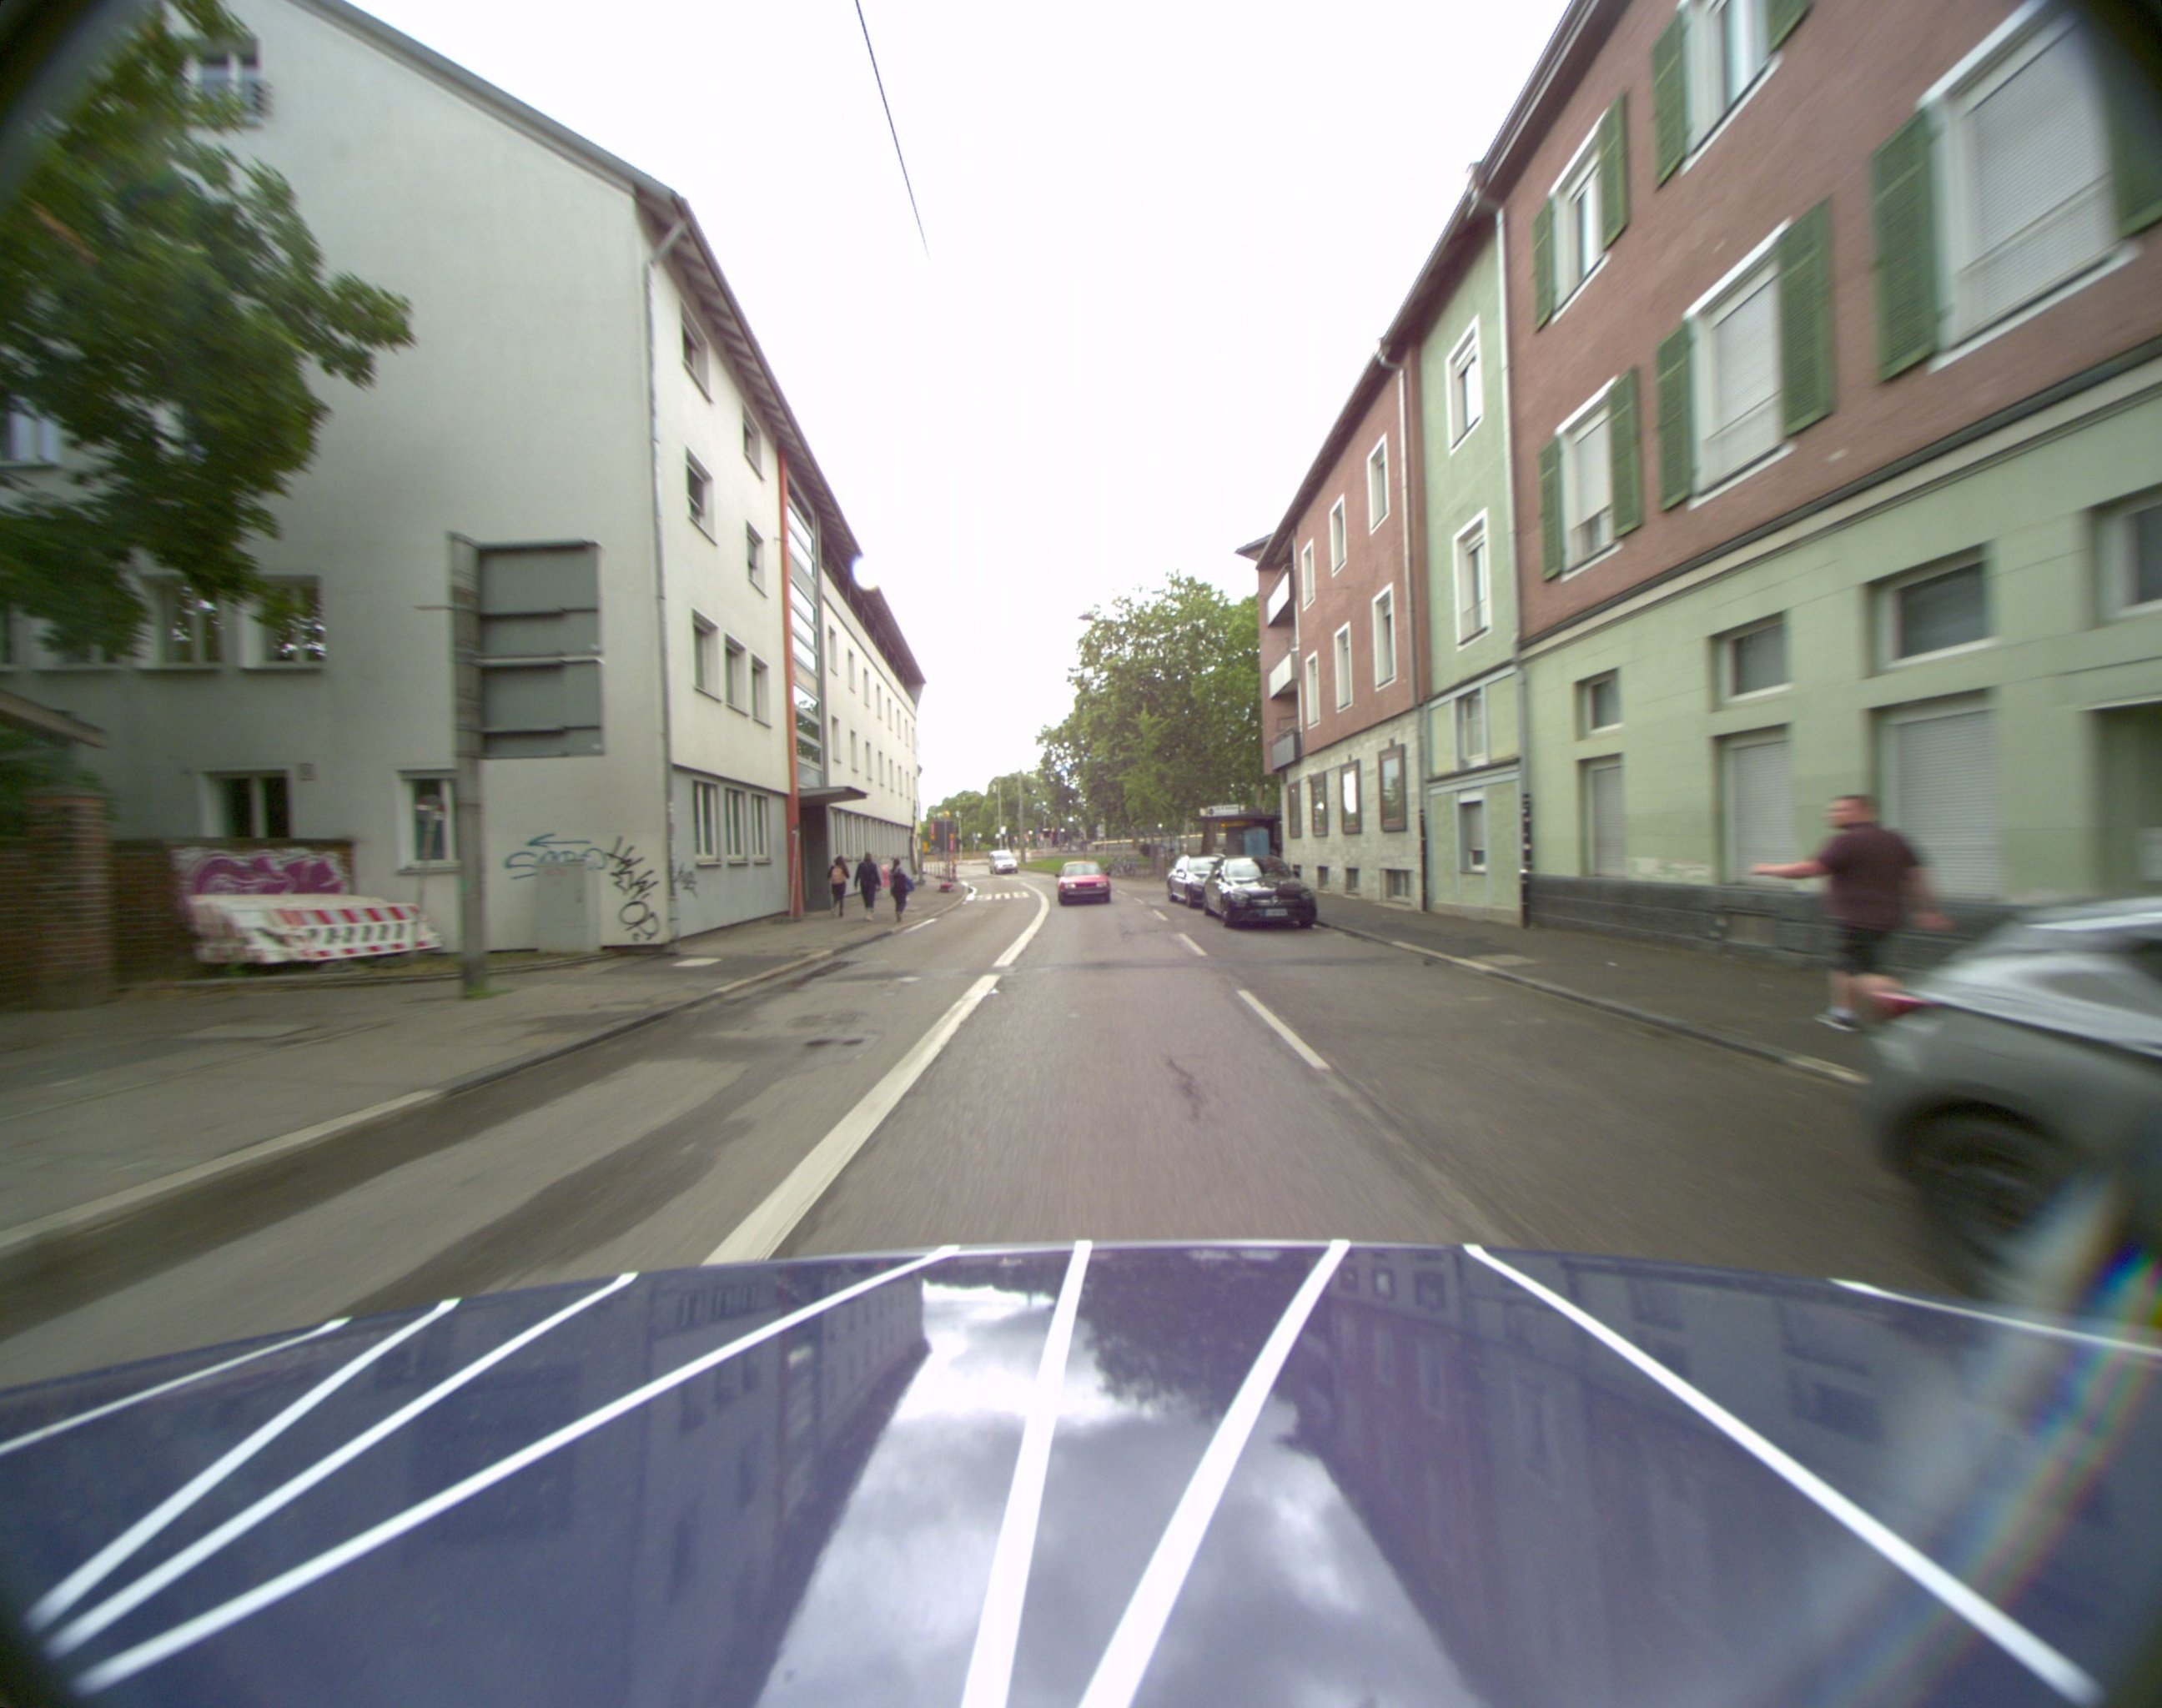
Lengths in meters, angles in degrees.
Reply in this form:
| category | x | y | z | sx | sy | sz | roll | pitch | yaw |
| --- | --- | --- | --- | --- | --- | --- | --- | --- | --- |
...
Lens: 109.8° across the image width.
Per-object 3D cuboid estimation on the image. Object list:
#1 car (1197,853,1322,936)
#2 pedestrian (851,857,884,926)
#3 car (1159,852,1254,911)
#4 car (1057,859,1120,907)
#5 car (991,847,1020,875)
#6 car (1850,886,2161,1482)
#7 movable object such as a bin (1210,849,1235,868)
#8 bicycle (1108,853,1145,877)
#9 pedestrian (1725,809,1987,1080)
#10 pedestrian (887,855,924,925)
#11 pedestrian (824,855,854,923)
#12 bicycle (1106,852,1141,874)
| category | x | y | z | sx | sy | sz | roll | pitch | yaw |
| --- | --- | --- | --- | --- | --- | --- | --- | --- | --- |
| car | 3.834 | 0.792 | 17.195 | 1.833 | 1.446 | 4.921 | -2 | 1 | 3 |
| pedestrian | -5.555 | 0.965 | 19.807 | 0.689 | 1.746 | 0.878 | 0 | 0 | -5 |
| car | 3.608 | 0.733 | 22.627 | 1.834 | 1.446 | 4.582 | -2 | 1 | -2 |
| car | 0.172 | 0.935 | 26.275 | 1.850 | 1.414 | 4.172 | -4 | 0 | -3 |
| car | -6.109 | 0.512 | 61.386 | 2.074 | 1.776 | 4.452 | -5 | 4 | -7 |
| car | 3.716 | 0.864 | 0.671 | 1.882 | 1.477 | 4.127 | -4 | 0 | 2 |
| movable object such as a bin | 7.866 | 0.270 | 42.292 | 0.674 | 0.959 | 1.076 | -8 | 3 | -42 |
| bicycle | 2.491 | 0.590 | 41.594 | 1.809 | 1.170 | 0.723 | -5 | 2 | -23 |
| pedestrian | 5.543 | 0.602 | 5.515 | 0.763 | 1.733 | 0.984 | -4 | 0 | -1 |
| pedestrian | -4.589 | 0.921 | 19.904 | 0.805 | 1.783 | 0.942 | 0 | 0 | -5 |
| pedestrian | -6.340 | 0.911 | 19.929 | 0.543 | 1.746 | 0.609 | 0 | 0 | 9 |
| bicycle | 2.398 | 0.508 | 42.820 | 1.874 | 1.107 | 0.577 | -4 | 2 | -2 |
